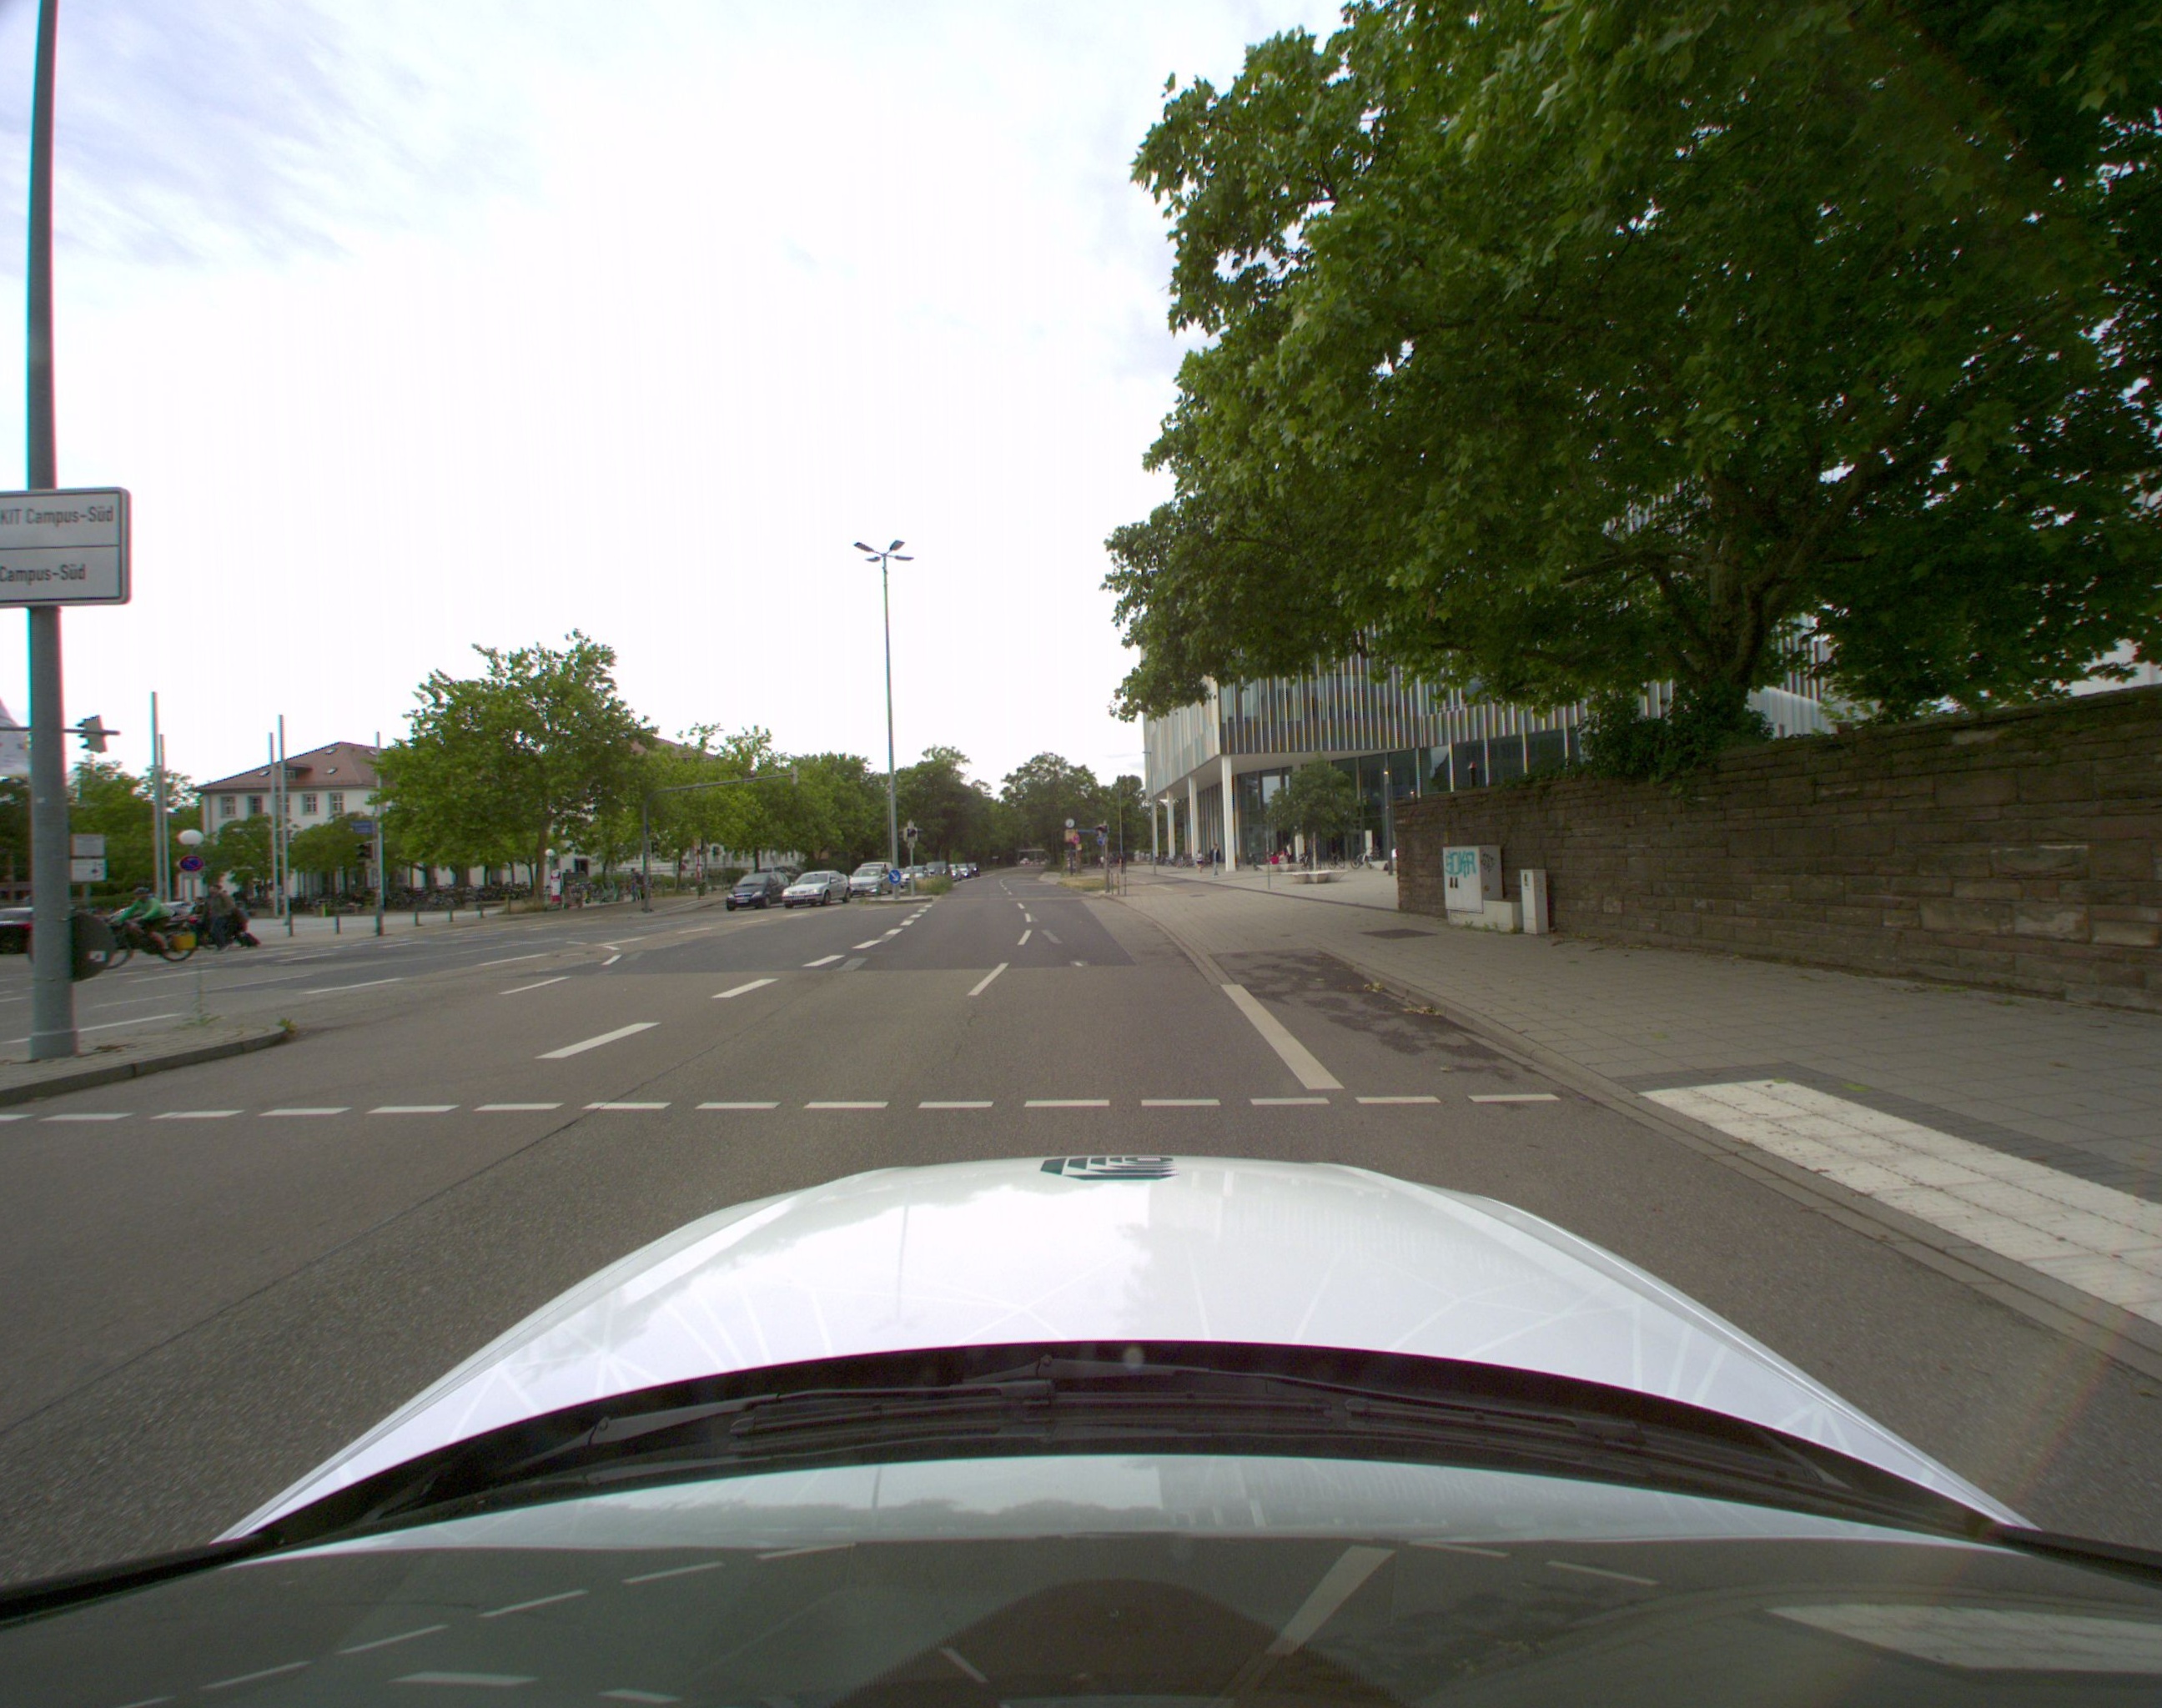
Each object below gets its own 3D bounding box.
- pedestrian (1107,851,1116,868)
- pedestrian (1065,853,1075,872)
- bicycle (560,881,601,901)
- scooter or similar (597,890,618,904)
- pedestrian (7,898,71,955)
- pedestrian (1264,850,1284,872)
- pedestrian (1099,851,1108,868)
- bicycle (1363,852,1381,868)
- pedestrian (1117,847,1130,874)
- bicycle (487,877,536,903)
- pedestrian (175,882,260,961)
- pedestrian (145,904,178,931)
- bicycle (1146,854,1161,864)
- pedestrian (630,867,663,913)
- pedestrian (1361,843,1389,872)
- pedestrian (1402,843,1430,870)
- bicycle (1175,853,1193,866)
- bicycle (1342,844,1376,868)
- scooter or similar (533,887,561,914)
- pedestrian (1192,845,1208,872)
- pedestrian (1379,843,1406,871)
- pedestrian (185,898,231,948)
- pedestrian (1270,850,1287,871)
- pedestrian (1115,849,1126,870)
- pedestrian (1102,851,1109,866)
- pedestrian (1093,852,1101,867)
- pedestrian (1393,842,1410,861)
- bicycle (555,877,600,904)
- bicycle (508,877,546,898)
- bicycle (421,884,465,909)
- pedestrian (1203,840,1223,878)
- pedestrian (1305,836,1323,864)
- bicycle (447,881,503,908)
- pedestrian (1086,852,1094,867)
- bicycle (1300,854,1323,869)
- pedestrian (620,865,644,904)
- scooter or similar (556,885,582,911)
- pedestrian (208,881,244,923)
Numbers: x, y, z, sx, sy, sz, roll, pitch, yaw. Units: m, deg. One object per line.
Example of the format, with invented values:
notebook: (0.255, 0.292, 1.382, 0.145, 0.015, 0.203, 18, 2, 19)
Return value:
pedestrian: (3.793, 0.677, 101.297, 0.924, 2.013, 1.037, -3, -1, -6)
pedestrian: (-1.176, 0.924, 88.086, 0.910, 2.013, 0.853, -4, 2, -3)
bicycle: (-31.186, 2.299, 50.802, 2.036, 1.153, 0.717, -3, 0, -20)
scooter or similar: (-25.568, 2.293, 43.984, 0.405, 0.693, 1.289, -1, 0, 1)
pedestrian: (-39.399, 2.724, 30.803, 1.000, 2.013, 1.016, -3, 0, -2)
pedestrian: (11.150, 0.383, 47.080, 0.834, 1.206, 0.900, -3, -1, 32)
pedestrian: (2.766, 0.714, 101.333, 0.924, 2.013, 1.037, -3, -1, -6)
bicycle: (17.050, 0.350, 47.671, 0.389, 0.899, 1.482, -3, 0, 44)
pedestrian: (3.377, 0.519, 64.664, 0.840, 2.013, 0.894, -4, 0, -1)
bicycle: (-37.838, 2.363, 54.155, 2.446, 1.559, 0.919, -2, 0, -13)
pedestrian: (-23.253, 1.778, 21.973, 1.185, 2.014, 1.134, 0, -1, -21)
pedestrian: (-50.399, 3.473, 44.650, 0.890, 1.418, 0.796, -3, -1, 5)
bicycle: (8.868, 0.588, 99.664, 1.791, 1.082, 0.625, -5, 0, -4)
pedestrian: (-19.655, 1.606, 36.876, 0.892, 2.013, 1.008, -3, 0, -5)
pedestrian: (13.961, 0.180, 38.644, 0.909, 1.367, 0.875, 0, 0, -12)
pedestrian: (15.515, 0.111, 37.736, 0.905, 1.257, 0.879, -1, 0, 1)
bicycle: (9.860, 0.544, 78.289, 1.636, 1.091, 0.573, -5, -1, 6)
bicycle: (16.623, 0.136, 48.669, 2.011, 1.306, 0.640, -4, 1, -24)
scooter or similar: (-23.892, 2.058, 36.437, 0.359, 1.140, 1.319, -3, 0, -2)
pedestrian: (8.418, 0.317, 57.489, 0.842, 1.836, 0.892, -2, -1, -8)
pedestrian: (14.365, 0.122, 37.567, 0.905, 1.257, 0.879, -1, 0, 1)
pedestrian: (-26.890, 2.106, 25.091, 0.702, 1.428, 0.991, 0, -1, -30)
pedestrian: (11.579, 0.362, 47.695, 0.885, 1.193, 0.848, -3, 0, 12)
pedestrian: (3.759, 0.523, 77.760, 0.841, 2.013, 0.893, -2, -1, -4)
pedestrian: (3.390, 0.600, 110.840, 0.822, 2.013, 0.719, -3, -1, -3)
pedestrian: (2.195, 0.770, 110.863, 0.823, 2.013, 0.718, -3, -1, -7)
pedestrian: (15.242, -0.113, 38.753, 0.630, 0.823, 0.736, -3, -1, 14)
bicycle: (-32.082, 2.306, 51.922, 2.194, 1.559, 0.896, -2, 0, -13)
bicycle: (-44.110, 2.693, 64.827, 2.638, 1.559, 0.926, -3, 0, 15)
bicycle: (-43.583, 2.885, 55.627, 2.638, 1.559, 0.926, -3, 0, 15)
pedestrian: (7.308, 0.284, 45.058, 0.840, 2.013, 0.894, -2, -1, -1)
pedestrian: (17.077, -0.281, 59.680, 1.173, 2.062, 1.139, -1, -1, 11)
bicycle: (-38.156, 2.551, 51.308, 2.661, 1.559, 0.919, -2, 0, -13)
pedestrian: (1.256, 0.773, 110.854, 0.924, 2.013, 1.037, -3, -1, -6)
bicycle: (14.580, 0.474, 51.458, 0.663, 0.899, 1.857, -3, 0, 39)
pedestrian: (-23.943, 1.605, 43.435, 0.801, 2.014, 0.923, 0, -1, -9)
scooter or similar: (-23.912, 2.064, 38.058, 0.359, 1.140, 1.319, -3, 0, -2)
pedestrian: (-43.403, 2.413, 41.348, 0.795, 2.013, 1.090, -3, -1, -19)
